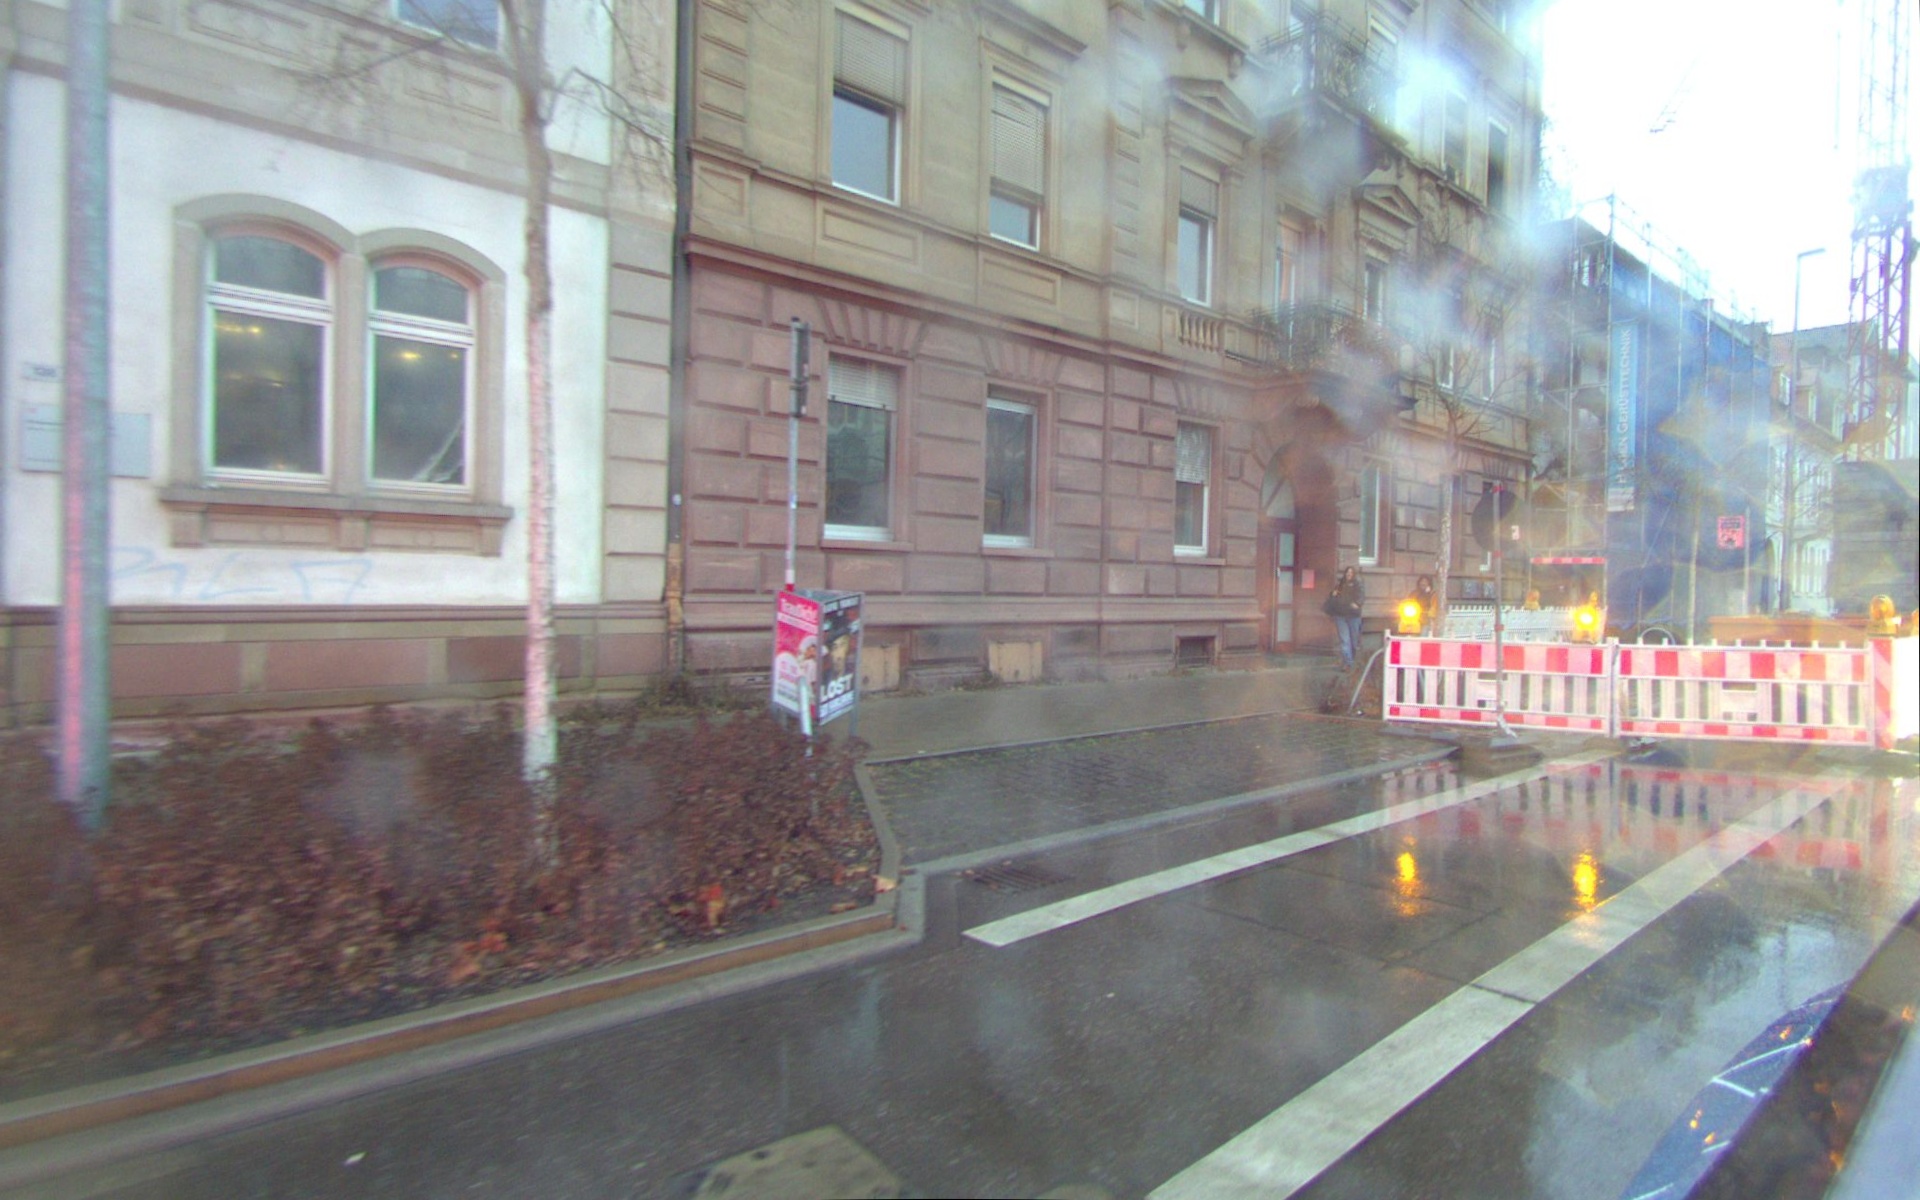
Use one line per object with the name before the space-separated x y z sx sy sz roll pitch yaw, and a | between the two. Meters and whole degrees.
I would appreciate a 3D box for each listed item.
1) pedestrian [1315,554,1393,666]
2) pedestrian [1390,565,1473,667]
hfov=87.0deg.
pedestrian | 6.212 0.143 15.981 0.693 1.693 0.871 1 2 -36
pedestrian | 7.661 0.240 16.438 0.913 1.564 0.870 0 2 -40
